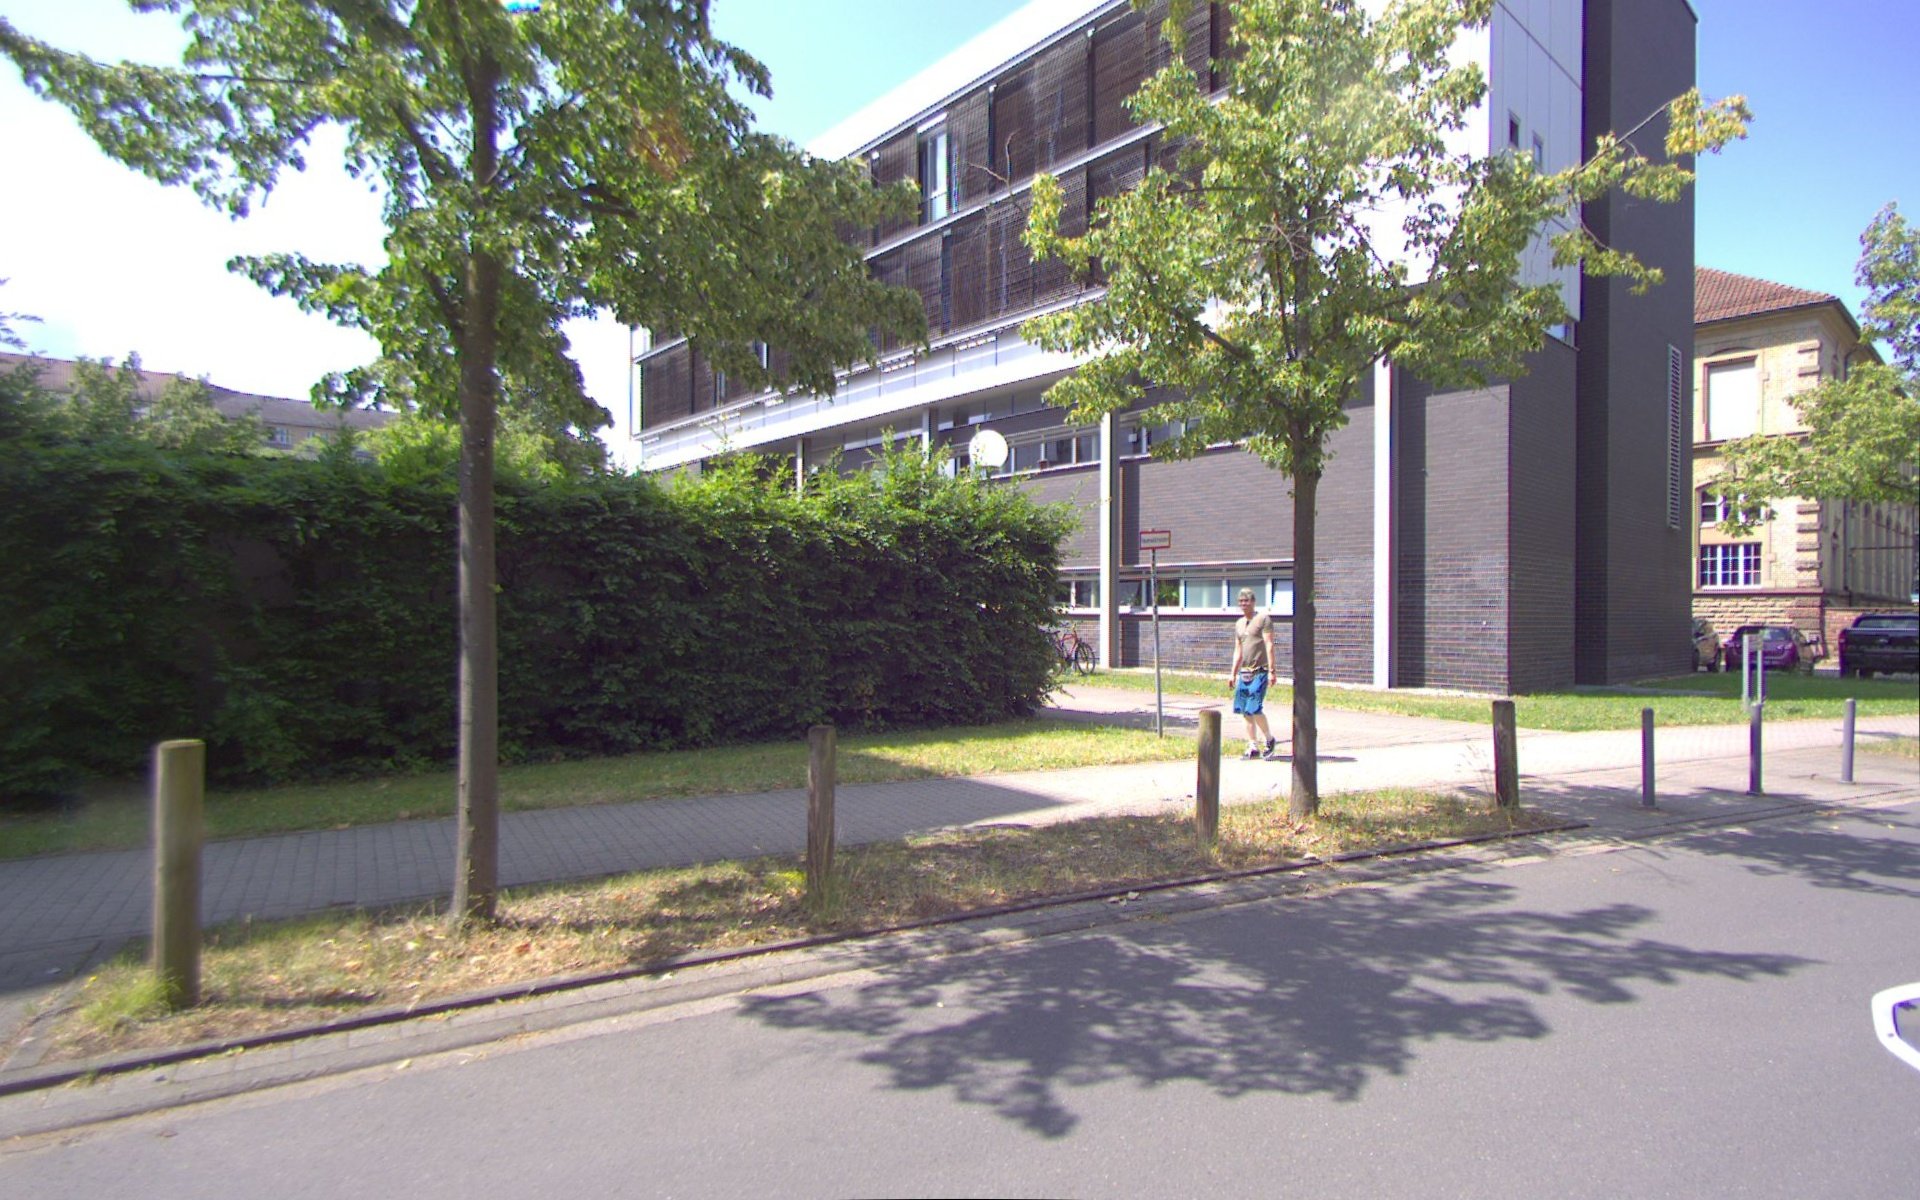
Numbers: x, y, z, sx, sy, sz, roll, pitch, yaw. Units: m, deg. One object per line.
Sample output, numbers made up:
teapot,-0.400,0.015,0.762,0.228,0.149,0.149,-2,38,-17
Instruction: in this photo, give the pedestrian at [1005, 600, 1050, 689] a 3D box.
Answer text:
pedestrian,1.357,0.881,20.157,0.683,1.743,0.610,1,0,-37

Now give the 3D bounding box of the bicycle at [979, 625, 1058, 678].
bicycle,1.348,1.161,22.940,2.036,1.138,0.574,1,-1,-44

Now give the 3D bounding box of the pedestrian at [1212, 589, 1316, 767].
pedestrian,3.187,0.793,10.548,0.899,1.788,0.582,0,0,-26

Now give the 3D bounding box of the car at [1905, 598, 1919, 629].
car,52.670,0.708,53.141,1.745,1.643,3.815,1,-1,-44

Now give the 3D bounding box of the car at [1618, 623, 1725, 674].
car,21.634,1.411,30.473,4.132,1.341,1.800,1,1,-43

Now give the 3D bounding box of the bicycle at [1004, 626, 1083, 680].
bicycle,1.877,1.160,22.341,2.036,1.138,0.574,1,-1,-44

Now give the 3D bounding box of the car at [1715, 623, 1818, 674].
car,23.171,1.346,28.816,3.740,1.341,1.800,1,-1,-43

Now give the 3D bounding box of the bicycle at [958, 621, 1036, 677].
bicycle,0.887,1.113,23.383,2.036,1.259,0.574,1,-1,-44

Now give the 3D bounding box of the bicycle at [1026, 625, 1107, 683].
bicycle,2.323,1.140,21.775,2.036,1.177,0.574,1,-1,-44

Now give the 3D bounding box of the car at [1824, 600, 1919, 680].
car,24.861,1.012,26.892,5.150,1.951,2.154,1,-1,-44
